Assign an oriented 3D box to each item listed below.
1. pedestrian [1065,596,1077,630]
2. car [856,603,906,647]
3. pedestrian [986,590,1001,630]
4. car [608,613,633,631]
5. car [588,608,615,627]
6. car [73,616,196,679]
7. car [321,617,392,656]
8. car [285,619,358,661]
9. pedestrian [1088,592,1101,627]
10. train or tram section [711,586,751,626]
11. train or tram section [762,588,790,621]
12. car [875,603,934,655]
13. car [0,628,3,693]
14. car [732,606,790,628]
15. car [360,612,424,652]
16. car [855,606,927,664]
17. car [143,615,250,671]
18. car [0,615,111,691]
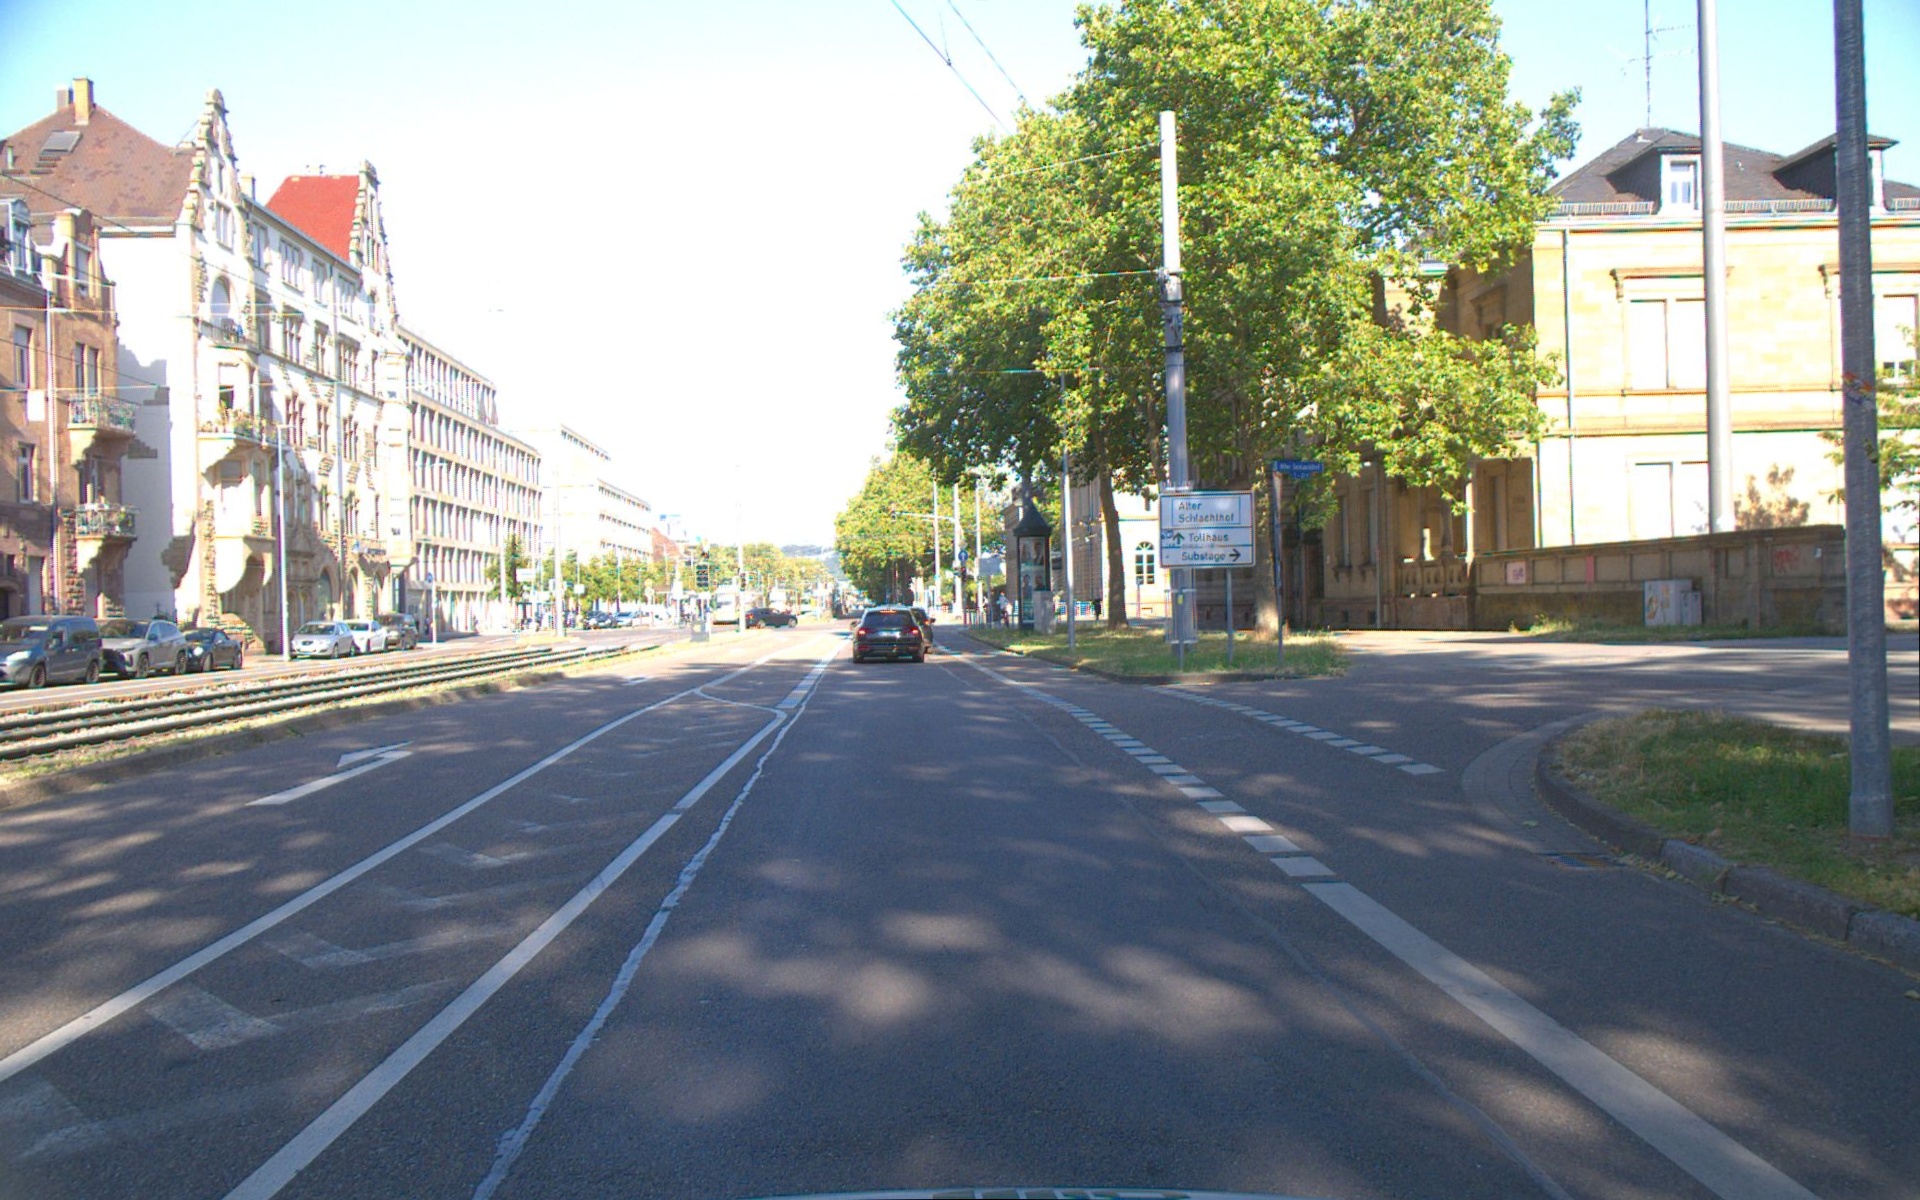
[{"bbox_3d":[5.665,0.656,84.262,0.575,1.758,0.650,0,0,9],"label":"pedestrian"},{"bbox_3d":[-2.982,0.922,62.269,1.758,1.537,3.998,-2,0,-3],"label":"car"},{"bbox_3d":[1.497,0.449,73.160,0.575,1.758,0.650,0,0,9],"label":"pedestrian"},{"bbox_3d":[-30.691,1.958,149.520,1.760,1.536,3.995,-2,0,-6],"label":"car"},{"bbox_3d":[-30.939,1.512,142.843,1.760,1.536,3.995,-2,0,-6],"label":"car"},{"bbox_3d":[-24.025,1.351,48.297,1.653,1.681,4.196,1,0,-3],"label":"car"},{"bbox_3d":[-25.868,1.544,70.992,1.759,1.537,4.181,1,0,-5],"label":"car"},{"bbox_3d":[-25.248,1.545,65.540,1.760,1.537,3.993,1,0,-8],"label":"car"},{"bbox_3d":[6.857,0.491,84.181,0.575,1.758,0.650,0,0,11],"label":"pedestrian"},{"bbox_3d":[-21.183,0.559,153.435,2.769,3.511,9.058,-2,0,-3],"label":"train or tram section"},{"bbox_3d":[-20.558,0.526,185.036,2.770,3.511,9.054,-2,0,-5],"label":"train or tram section"},{"bbox_3d":[-1.816,0.912,53.223,1.758,1.537,3.998,-2,0,-3],"label":"car"},{"bbox_3d":[-23.414,1.400,37.073,1.758,1.537,3.997,1,0,-3],"label":"car"},{"bbox_3d":[-13.707,1.181,113.870,1.764,1.537,3.985,-1,-1,35],"label":"car"},{"bbox_3d":[-26.249,1.455,76.546,1.759,1.749,4.181,1,0,-5],"label":"car"},{"bbox_3d":[-1.880,0.891,43.942,1.797,1.415,4.155,-1,0,-4],"label":"car"},{"bbox_3d":[-24.593,1.352,53.435,1.653,1.681,4.196,1,0,-3],"label":"car"},{"bbox_3d":[-23.611,1.296,42.033,1.757,1.784,4.454,1,0,-1],"label":"car"}]
